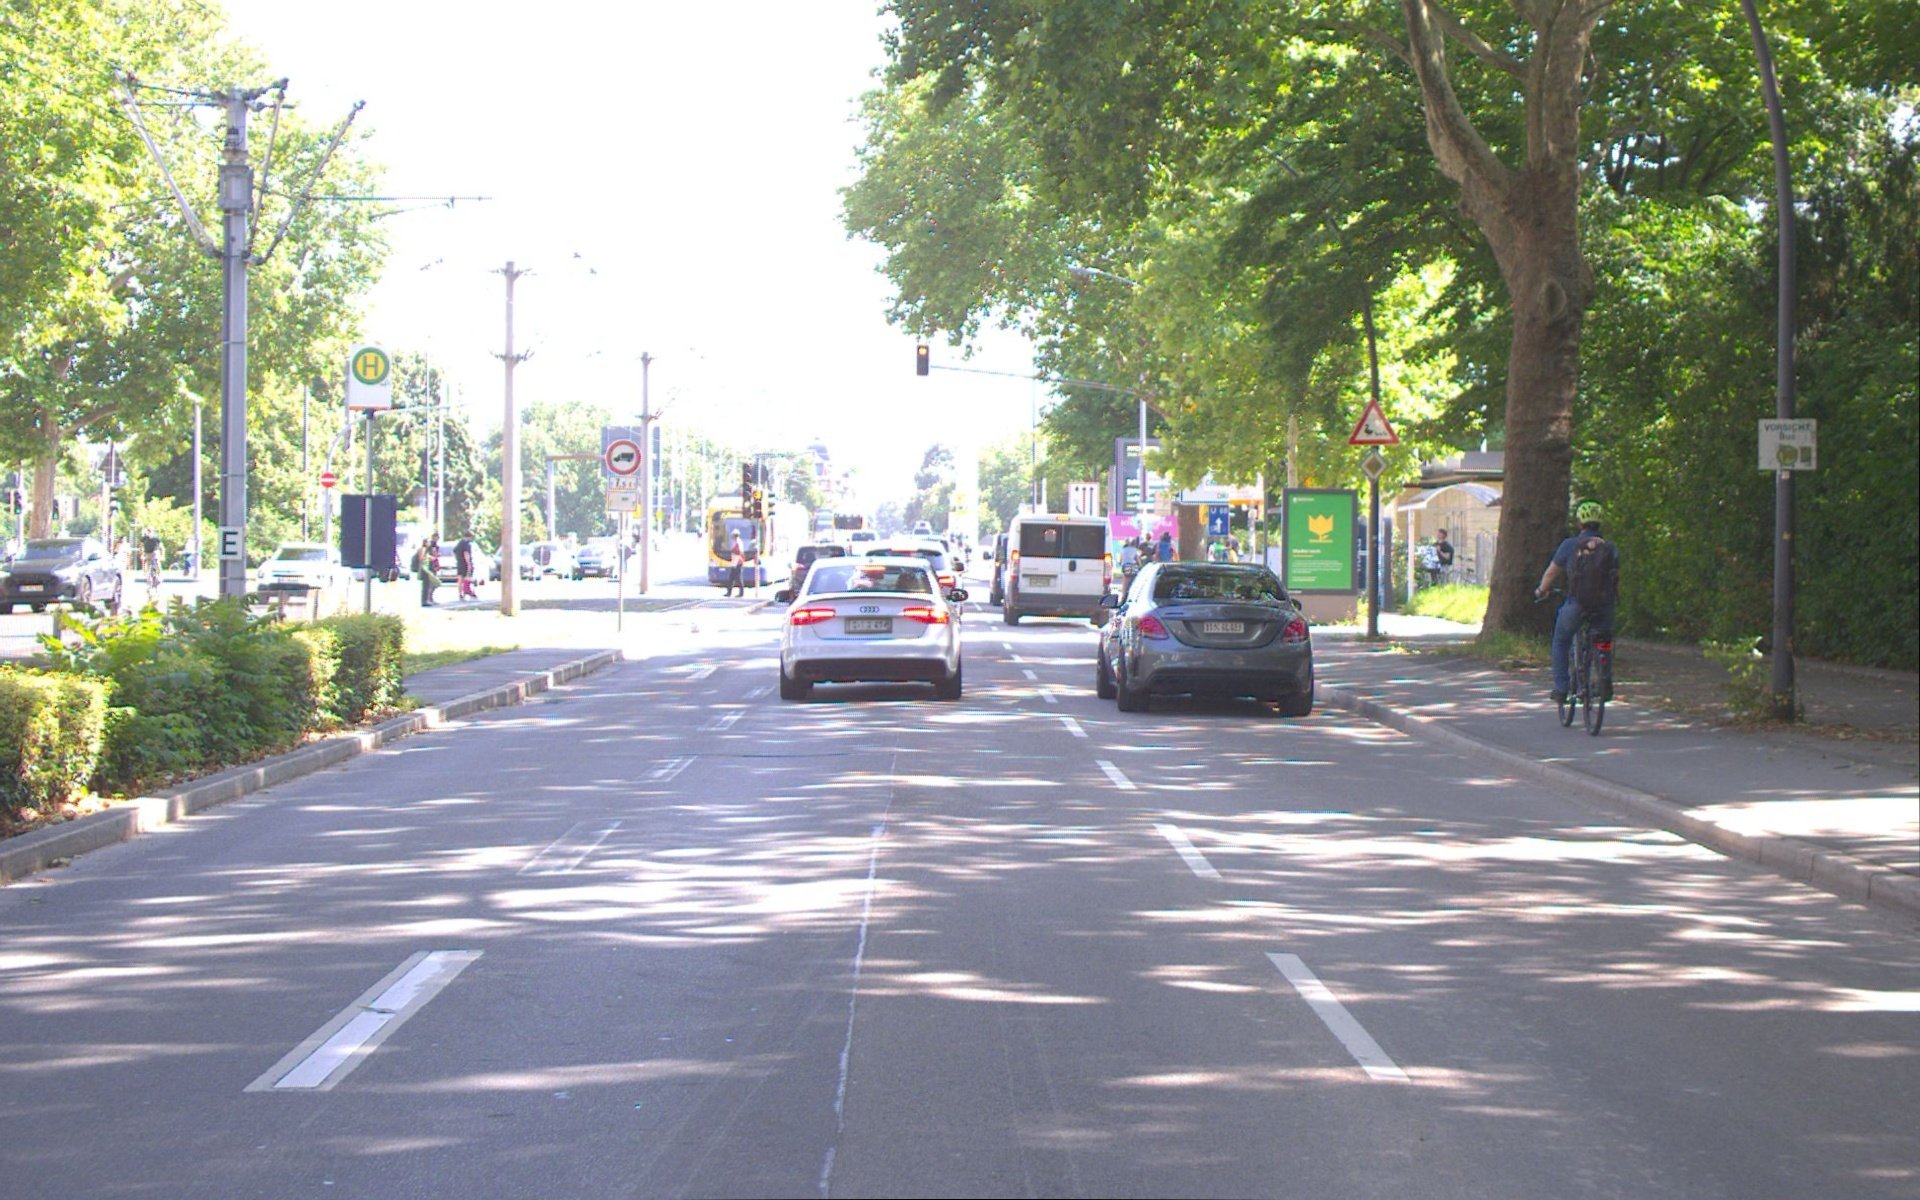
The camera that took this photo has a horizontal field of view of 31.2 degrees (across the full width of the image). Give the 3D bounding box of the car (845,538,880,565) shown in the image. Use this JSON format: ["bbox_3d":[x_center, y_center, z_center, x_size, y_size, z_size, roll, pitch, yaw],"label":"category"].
[{"bbox_3d":[-6.043,-3.019,212.989,1.871,1.603,4.000,1,1,2],"label":"car"}]

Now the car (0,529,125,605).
[{"bbox_3d":[-20.220,-0.750,77.108,1.830,1.618,4.897,1,1,0],"label":"car"}]

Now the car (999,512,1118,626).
[{"bbox_3d":[1.956,-0.638,69.642,2.230,2.204,4.162,1,1,0],"label":"car"}]

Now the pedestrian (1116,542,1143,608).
[{"bbox_3d":[4.408,-0.657,89.375,0.602,1.689,0.953,-1,1,0],"label":"pedestrian"}]

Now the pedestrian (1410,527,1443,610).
[{"bbox_3d":[10.690,-0.732,78.789,0.613,1.890,0.597,0,1,-3],"label":"pedestrian"}]

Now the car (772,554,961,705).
[{"bbox_3d":[-0.905,0.256,34.896,1.784,1.416,3.885,1,1,0],"label":"car"}]

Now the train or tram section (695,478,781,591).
[{"bbox_3d":[-8.177,-2.417,127.332,2.616,4.001,7.749,1,1,0],"label":"train or tram section"}]

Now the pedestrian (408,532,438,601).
[{"bbox_3d":[-12.906,-0.796,82.640,0.593,1.641,0.554,1,1,0],"label":"pedestrian"}]

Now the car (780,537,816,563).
[{"bbox_3d":[-10.029,-3.098,213.150,1.871,1.603,4.000,1,1,2],"label":"car"}]

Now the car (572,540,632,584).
[{"bbox_3d":[-14.452,-1.533,139.000,1.993,1.728,4.000,1,1,0],"label":"car"}]

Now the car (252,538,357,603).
[{"bbox_3d":[-16.307,-0.751,85.712,1.810,1.557,4.305,1,1,0],"label":"car"}]

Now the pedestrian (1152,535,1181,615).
[{"bbox_3d":[5.062,-0.608,84.328,0.635,1.939,0.719,1,1,0],"label":"pedestrian"}]

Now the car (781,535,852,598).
[{"bbox_3d":[-3.823,-0.902,92.094,1.729,1.625,4.000,1,1,0],"label":"car"}]

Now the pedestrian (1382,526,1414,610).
[{"bbox_3d":[10.026,-0.735,78.733,0.613,1.890,0.694,0,1,-3],"label":"pedestrian"}]

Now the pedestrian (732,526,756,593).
[{"bbox_3d":[-6.231,-1.174,99.181,0.624,1.911,0.690,1,1,0],"label":"pedestrian"}]

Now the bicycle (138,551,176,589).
[{"bbox_3d":[-23.467,-0.871,100.494,0.667,1.091,1.884,1,1,0],"label":"bicycle"}]

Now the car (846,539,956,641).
[{"bbox_3d":[-0.944,-0.189,56.684,1.729,1.599,3.885,1,1,0],"label":"car"}]

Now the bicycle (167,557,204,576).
[{"bbox_3d":[-30.306,-1.314,134.542,0.492,0.728,1.619,1,1,29],"label":"bicycle"}]

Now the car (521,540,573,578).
[{"bbox_3d":[-17.898,-1.785,149.044,1.763,1.603,3.860,1,1,0],"label":"car"}]

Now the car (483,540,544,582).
[{"bbox_3d":[-17.685,-1.552,136.205,1.871,1.603,4.000,1,1,0],"label":"car"}]

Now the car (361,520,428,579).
[{"bbox_3d":[-23.492,-2.093,142.968,2.114,2.374,4.000,1,1,0],"label":"car"}]

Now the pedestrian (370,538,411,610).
[{"bbox_3d":[-12.879,-0.589,77.766,0.757,1.617,0.595,1,1,-25],"label":"pedestrian"}]

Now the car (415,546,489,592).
[{"bbox_3d":[-17.047,-1.056,115.589,1.796,1.483,4.385,1,1,0],"label":"car"}]

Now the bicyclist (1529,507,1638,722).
[{"bbox_3d":[4.960,0.101,27.406,0.634,1.642,0.979,-2,2,-1],"label":"bicyclist"}]

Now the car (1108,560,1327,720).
[{"bbox_3d":[2.421,0.340,33.227,1.782,1.415,4.000,1,1,0],"label":"car"}]

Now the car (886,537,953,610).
[{"bbox_3d":[-1.067,-0.734,92.354,1.729,1.895,4.000,1,1,0],"label":"car"}]

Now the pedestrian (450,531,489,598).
[{"bbox_3d":[-12.714,-0.918,89.137,0.775,1.728,0.754,1,1,8],"label":"pedestrian"}]

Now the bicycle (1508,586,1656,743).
[{"bbox_3d":[4.954,0.494,27.523,0.714,1.144,2.178,-2,1,-1],"label":"bicycle"}]

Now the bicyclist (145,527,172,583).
[{"bbox_3d":[-23.454,-1.317,100.570,0.574,1.598,0.838,1,1,0],"label":"bicyclist"}]

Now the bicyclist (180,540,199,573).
[{"bbox_3d":[-30.197,-1.712,134.723,0.474,1.287,0.496,1,1,29],"label":"bicyclist"}]

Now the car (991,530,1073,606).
[{"bbox_3d":[1.926,-0.872,93.194,2.072,1.992,4.058,1,1,0],"label":"car"}]
